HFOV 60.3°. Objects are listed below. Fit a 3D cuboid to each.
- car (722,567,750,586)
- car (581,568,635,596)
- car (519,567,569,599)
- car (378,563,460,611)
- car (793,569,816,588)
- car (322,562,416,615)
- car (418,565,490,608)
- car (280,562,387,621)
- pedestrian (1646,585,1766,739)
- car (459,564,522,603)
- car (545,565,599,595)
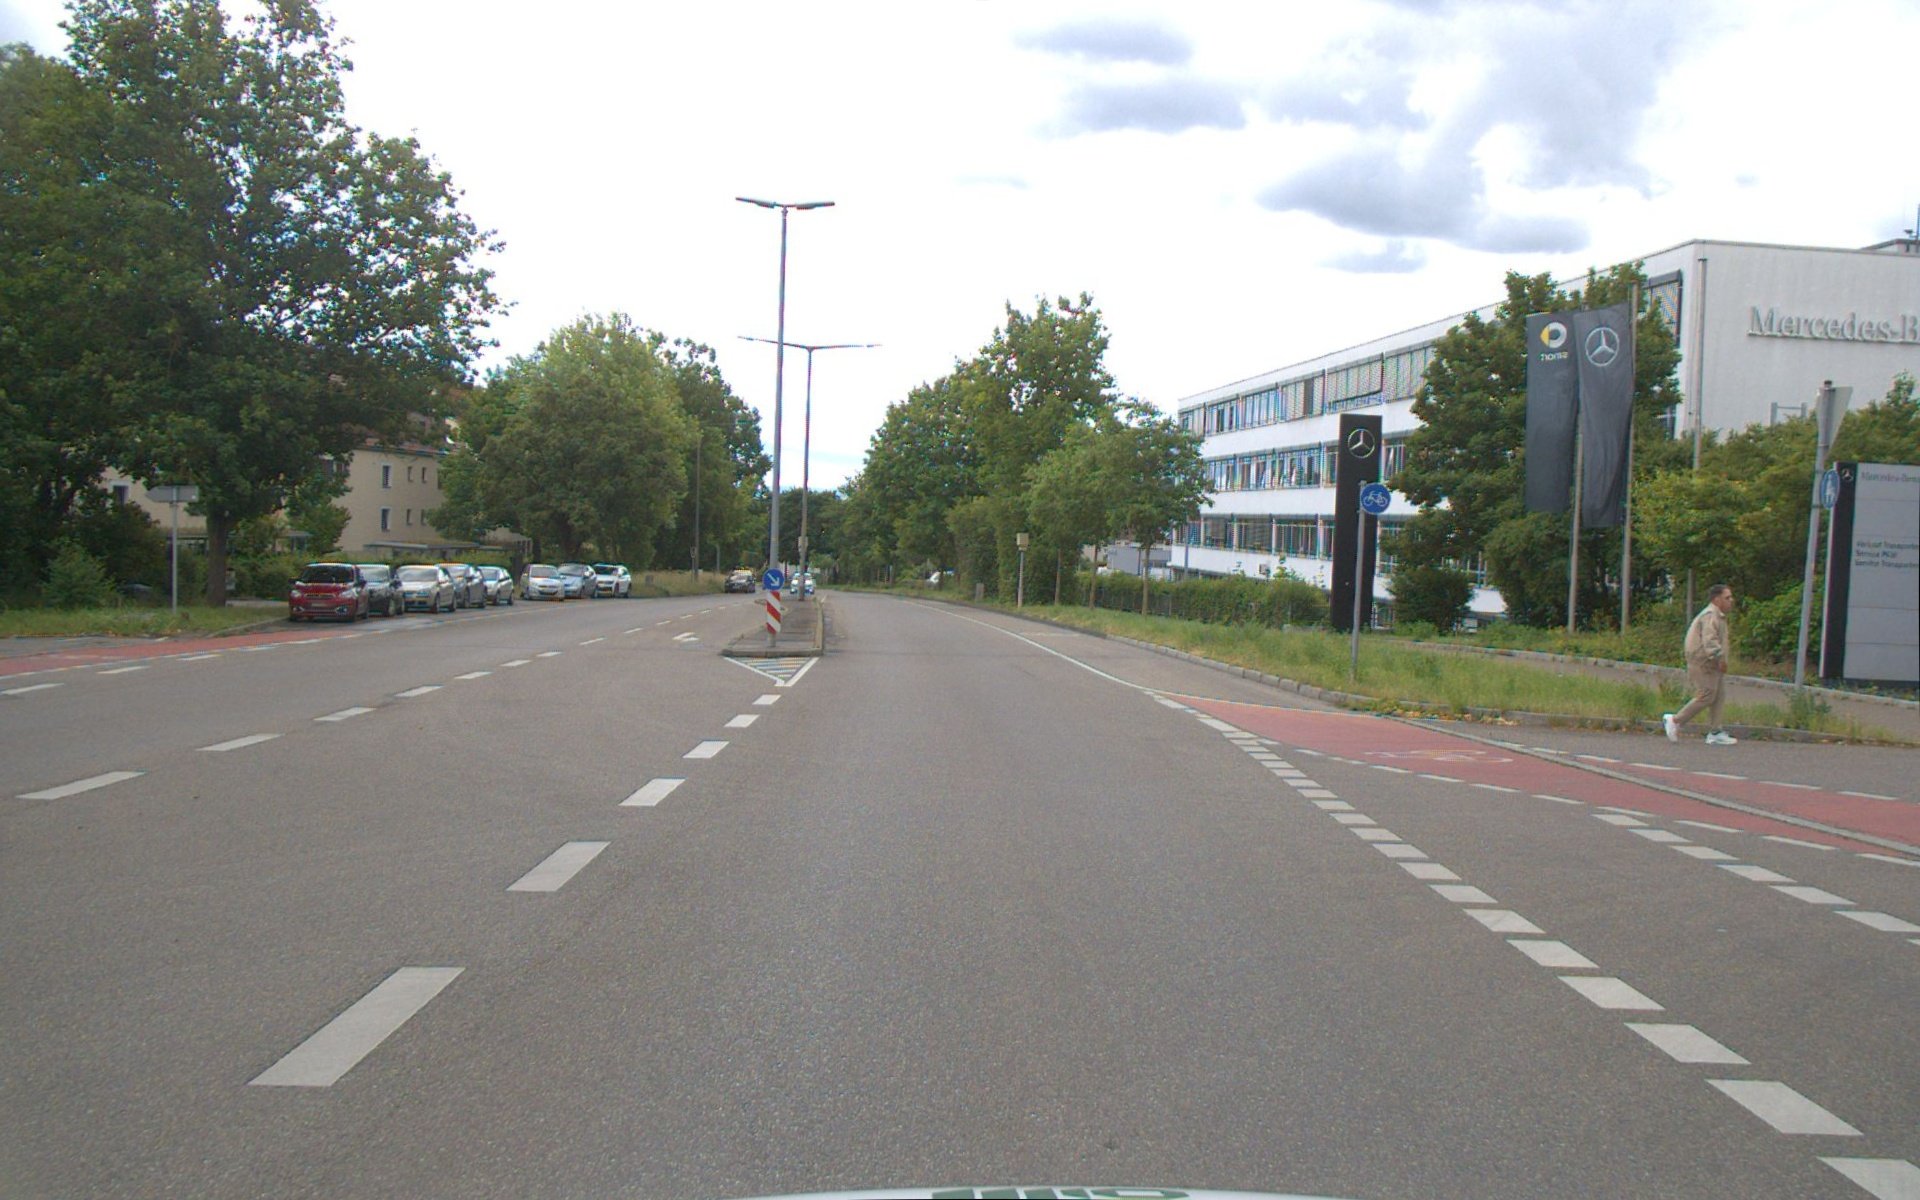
[{"bbox_3d":[-16.601,-1.739,122.867,1.736,1.327,3.998,2,1,-3],"label":"car"},{"bbox_3d":[-17.689,-0.906,83.238,1.638,1.327,4.002,2,1,3],"label":"car"},{"bbox_3d":[-18.479,-0.768,73.353,1.649,1.327,3.974,2,1,-22],"label":"car"},{"bbox_3d":[-17.263,-0.434,52.973,1.640,1.427,3.995,2,1,-6],"label":"car"},{"bbox_3d":[-11.807,-1.640,125.535,1.580,1.327,3.998,2,1,-3],"label":"car"},{"bbox_3d":[-17.111,-0.346,48.071,1.640,1.427,3.995,2,1,-6],"label":"car"},{"bbox_3d":[-17.954,-0.498,58.831,1.640,1.427,3.995,2,1,-6],"label":"car"},{"bbox_3d":[-16.467,-0.260,43.668,1.640,1.427,3.995,2,1,-6],"label":"car"},{"bbox_3d":[7.513,0.610,16.673,0.778,1.489,0.744,1,1,-22],"label":"pedestrian"},{"bbox_3d":[-18.141,-0.661,64.025,1.640,1.427,3.995,2,1,-6],"label":"car"},{"bbox_3d":[-18.267,-0.959,78.102,1.639,1.327,3.999,2,1,-1],"label":"car"}]
